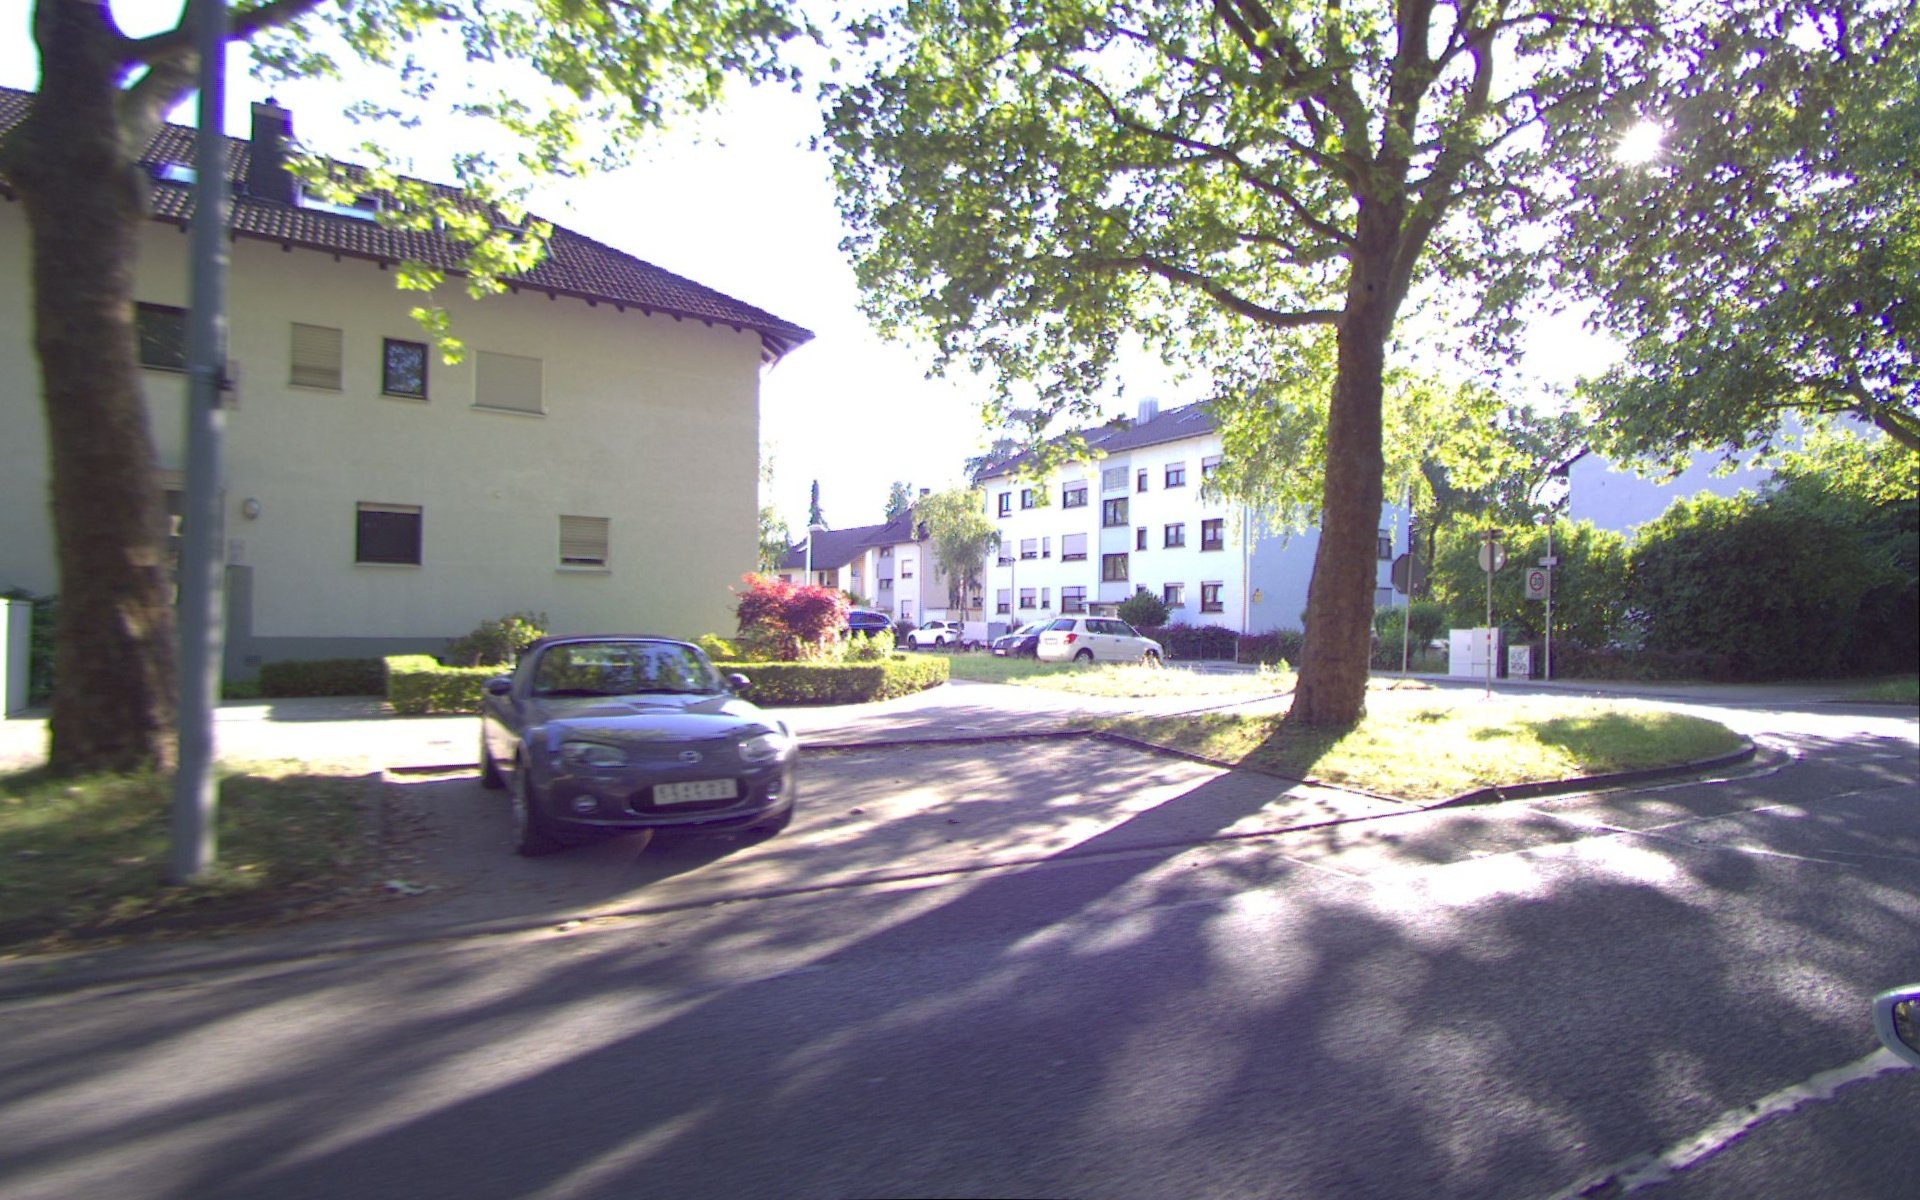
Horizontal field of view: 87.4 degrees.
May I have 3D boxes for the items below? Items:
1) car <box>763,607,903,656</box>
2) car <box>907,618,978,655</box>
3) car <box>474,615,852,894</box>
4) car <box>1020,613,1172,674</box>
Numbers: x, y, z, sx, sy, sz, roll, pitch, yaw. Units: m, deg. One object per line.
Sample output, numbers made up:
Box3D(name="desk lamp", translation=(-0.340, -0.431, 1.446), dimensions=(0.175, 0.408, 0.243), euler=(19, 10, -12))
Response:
Box3D(name="car", translation=(-4.413, 1.114, 35.106), dimensions=(4.417, 1.595, 1.982), euler=(2, -1, -33))
Box3D(name="car", translation=(-0.935, 1.809, 50.835), dimensions=(1.882, 1.762, 3.968), euler=(1, -1, -30))
Box3D(name="car", translation=(-2.401, 0.858, 7.375), dimensions=(1.769, 1.334, 3.806), euler=(2, 0, -31))
Box3D(name="car", translation=(3.901, 1.224, 28.657), dimensions=(3.957, 1.595, 1.982), euler=(2, -1, -33))
